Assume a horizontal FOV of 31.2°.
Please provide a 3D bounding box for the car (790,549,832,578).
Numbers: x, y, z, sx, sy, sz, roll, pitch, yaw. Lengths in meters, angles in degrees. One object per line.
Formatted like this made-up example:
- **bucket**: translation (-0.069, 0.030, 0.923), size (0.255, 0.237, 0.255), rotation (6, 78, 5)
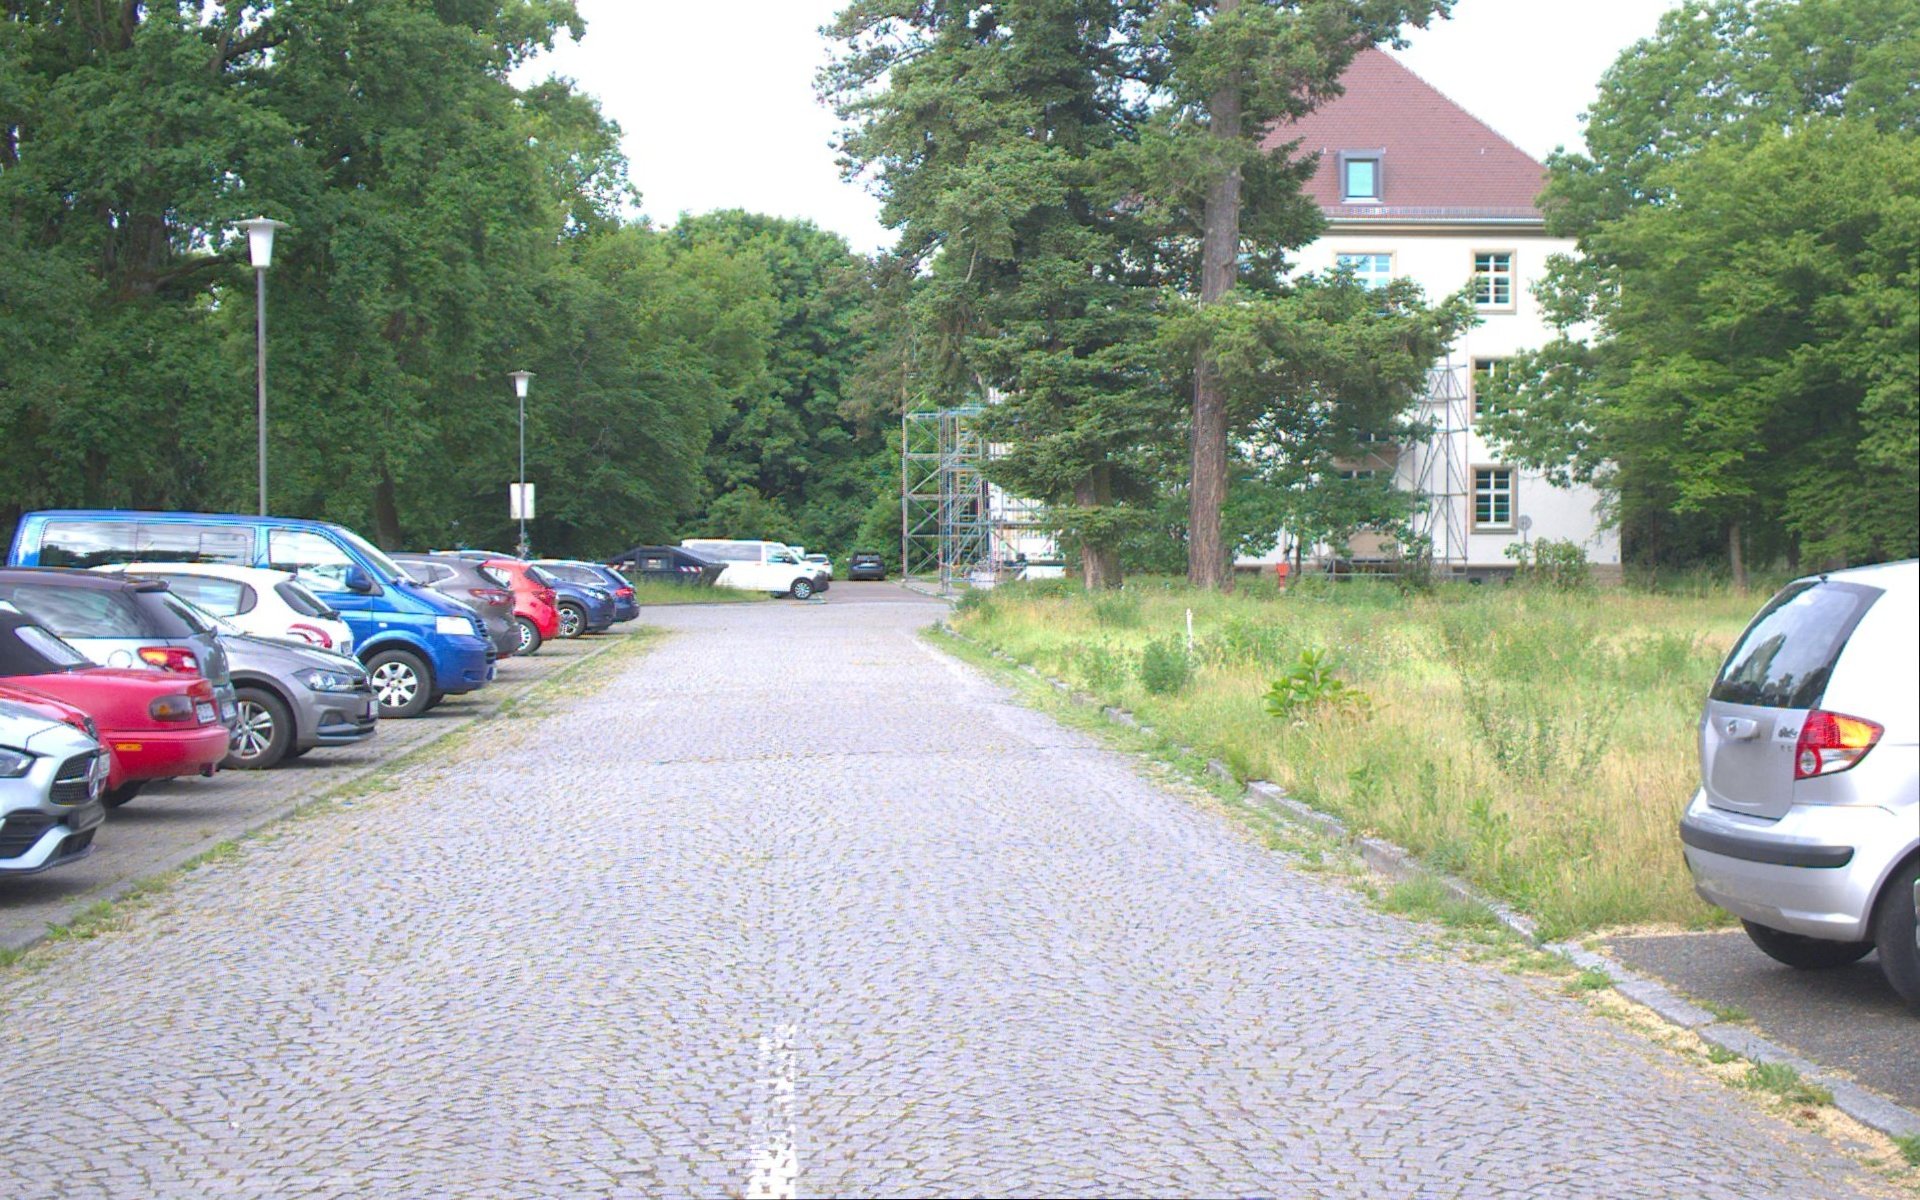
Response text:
- **car**: translation (-7.955, -1.934, 183.229), size (2.118, 1.516, 4.001), rotation (0, 1, -4)

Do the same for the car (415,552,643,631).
- **car**: translation (-8.528, -0.175, 68.286), size (4.302, 1.456, 1.975), rotation (1, 1, -1)

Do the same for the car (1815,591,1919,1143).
- **car**: translation (4.573, 0.623, 9.020), size (4.073, 1.448, 1.885), rotation (-3, 1, -5)

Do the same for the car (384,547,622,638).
- **car**: translation (-8.416, -0.151, 63.589), size (4.227, 1.571, 1.887), rotation (1, 1, -4)

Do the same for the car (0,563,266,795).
- **car**: translation (-6.903, 0.504, 23.028), size (4.166, 1.477, 1.846), rotation (0, 1, -2)

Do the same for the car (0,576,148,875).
- **car**: translation (-6.533, 0.626, 18.011), size (4.165, 1.471, 1.865), rotation (0, 1, -3)

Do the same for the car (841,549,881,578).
- **car**: translation (-5.293, -1.958, 183.635), size (1.951, 1.516, 4.001), rotation (0, 1, -4)

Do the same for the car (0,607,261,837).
- **car**: translation (-6.408, 0.699, 20.393), size (4.166, 1.262, 1.831), rotation (0, 1, -1)

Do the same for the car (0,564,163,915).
- **car**: translation (-6.002, 0.599, 15.680), size (4.373, 1.502, 1.936), rotation (0, 1, -5)

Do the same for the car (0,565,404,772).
- **car**: translation (-6.412, 0.489, 25.898), size (4.166, 1.486, 1.865), rotation (0, 1, -1)

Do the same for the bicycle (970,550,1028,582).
- **bicycle**: translation (1.533, -1.342, 134.797), size (2.240, 1.250, 0.777), rotation (0, 0, 0)

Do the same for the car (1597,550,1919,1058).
- **car**: translation (4.448, 0.544, 11.726), size (4.073, 1.510, 1.805), rotation (-3, 1, -5)

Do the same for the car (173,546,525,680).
- **car**: translation (-7.570, 0.139, 42.960), size (4.165, 1.616, 1.987), rotation (0, 1, -5)

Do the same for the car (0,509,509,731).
- **car**: translation (-6.958, 0.168, 34.095), size (4.781, 2.115, 2.115), rotation (0, 1, -3)

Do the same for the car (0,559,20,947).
- **car**: translation (-5.886, 0.630, 12.971), size (4.249, 1.543, 1.936), rotation (0, 1, -6)

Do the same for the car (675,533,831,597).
- **car**: translation (-7.075, -1.213, 117.207), size (5.234, 2.160, 2.000), rotation (0, 1, -5)

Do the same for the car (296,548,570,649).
- **car**: translation (-8.133, -0.033, 53.318), size (4.054, 1.520, 1.905), rotation (0, 1, -4)

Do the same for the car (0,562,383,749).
- **car**: translation (-7.003, 0.439, 28.798), size (4.067, 1.492, 1.846), rotation (0, 1, -2)
